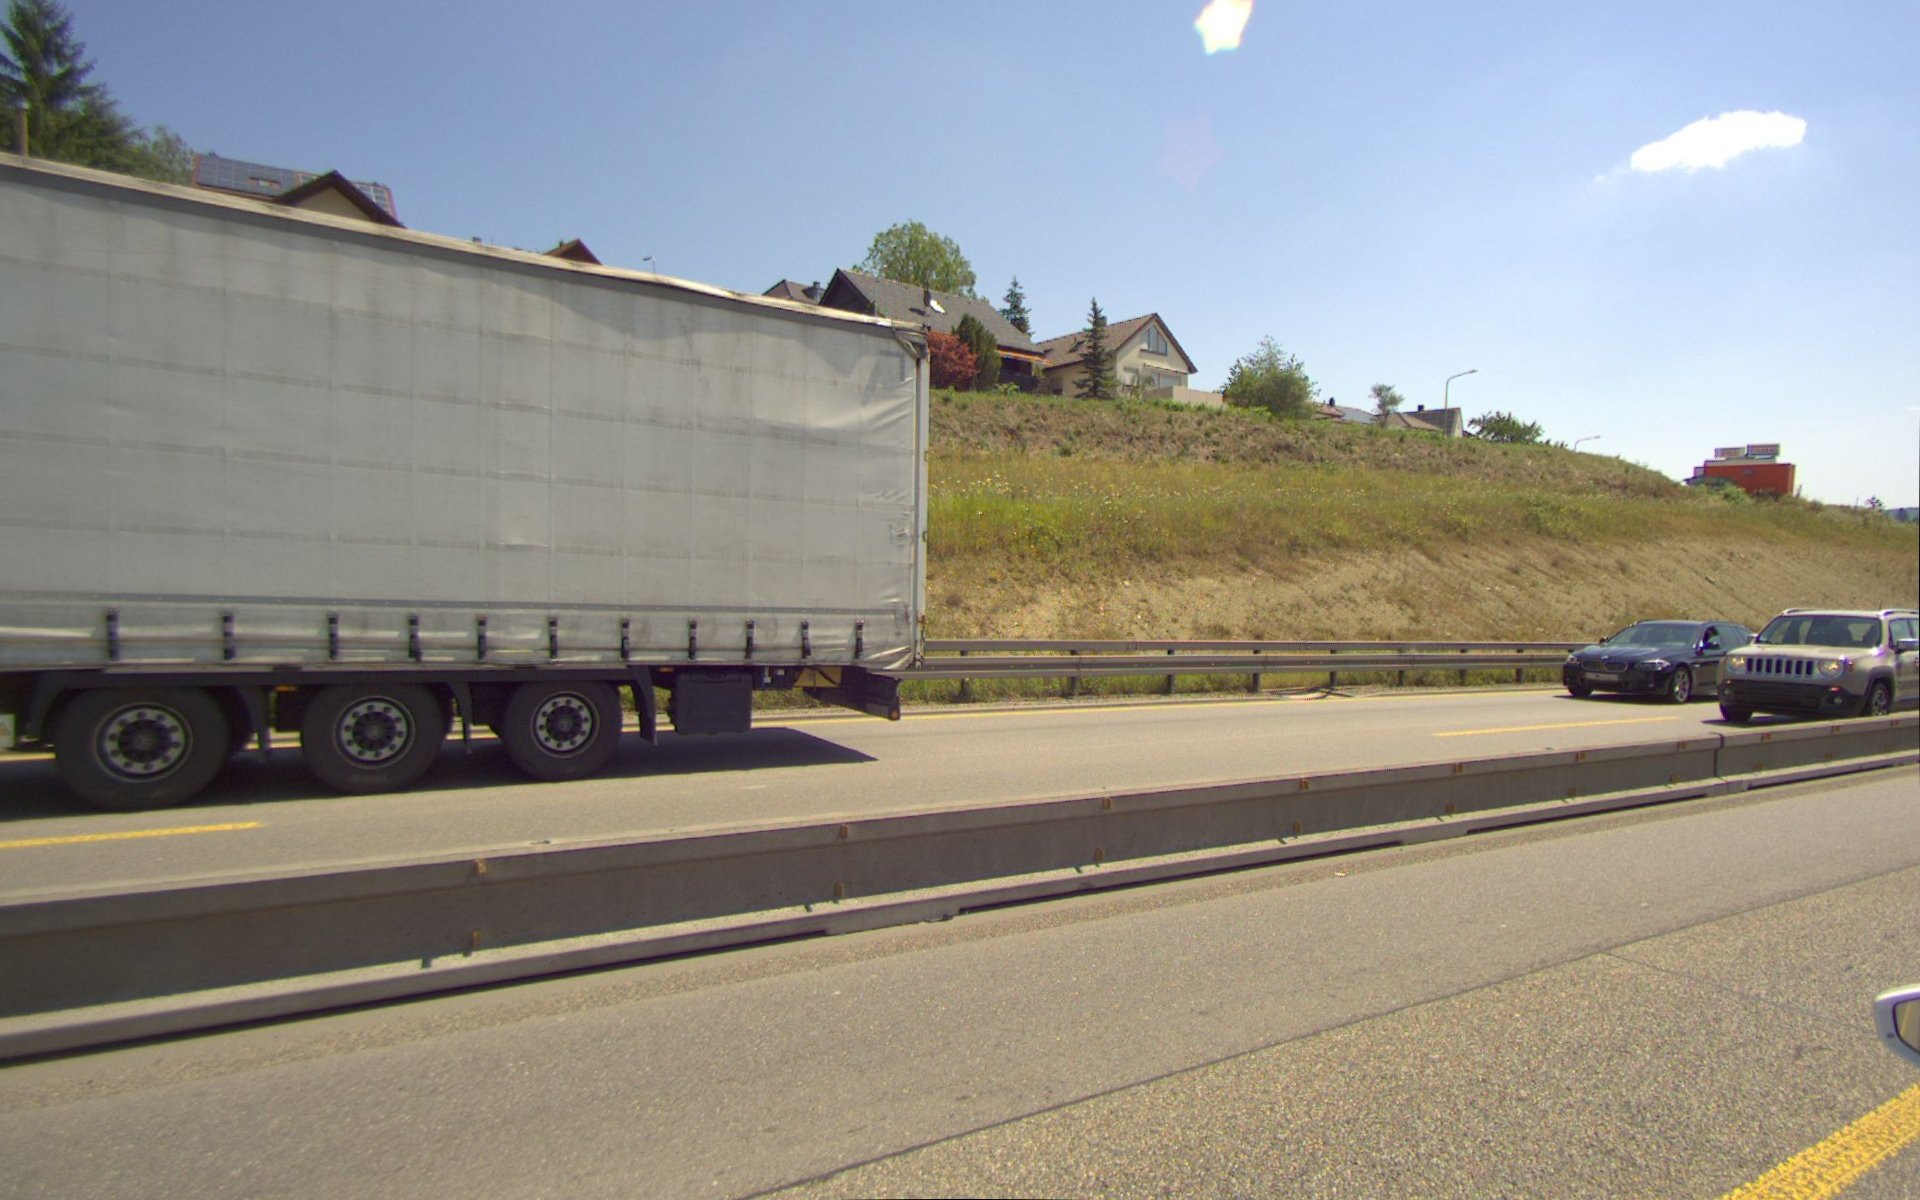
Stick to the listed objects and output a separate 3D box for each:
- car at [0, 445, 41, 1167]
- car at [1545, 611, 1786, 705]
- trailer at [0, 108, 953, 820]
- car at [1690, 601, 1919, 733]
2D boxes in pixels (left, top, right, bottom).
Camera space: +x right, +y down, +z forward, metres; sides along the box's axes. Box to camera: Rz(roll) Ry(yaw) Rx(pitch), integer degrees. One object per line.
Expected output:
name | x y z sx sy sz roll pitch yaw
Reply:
car | -4.018 0.491 0.761 4.597 1.741 1.767 0 1 -30
car | 13.386 1.052 19.003 4.664 1.527 1.984 2 0 -31
trailer | -6.738 -0.820 7.000 13.813 4.238 2.772 1 0 -30
car | 12.831 0.918 14.754 4.363 1.688 1.823 2 -1 -31
